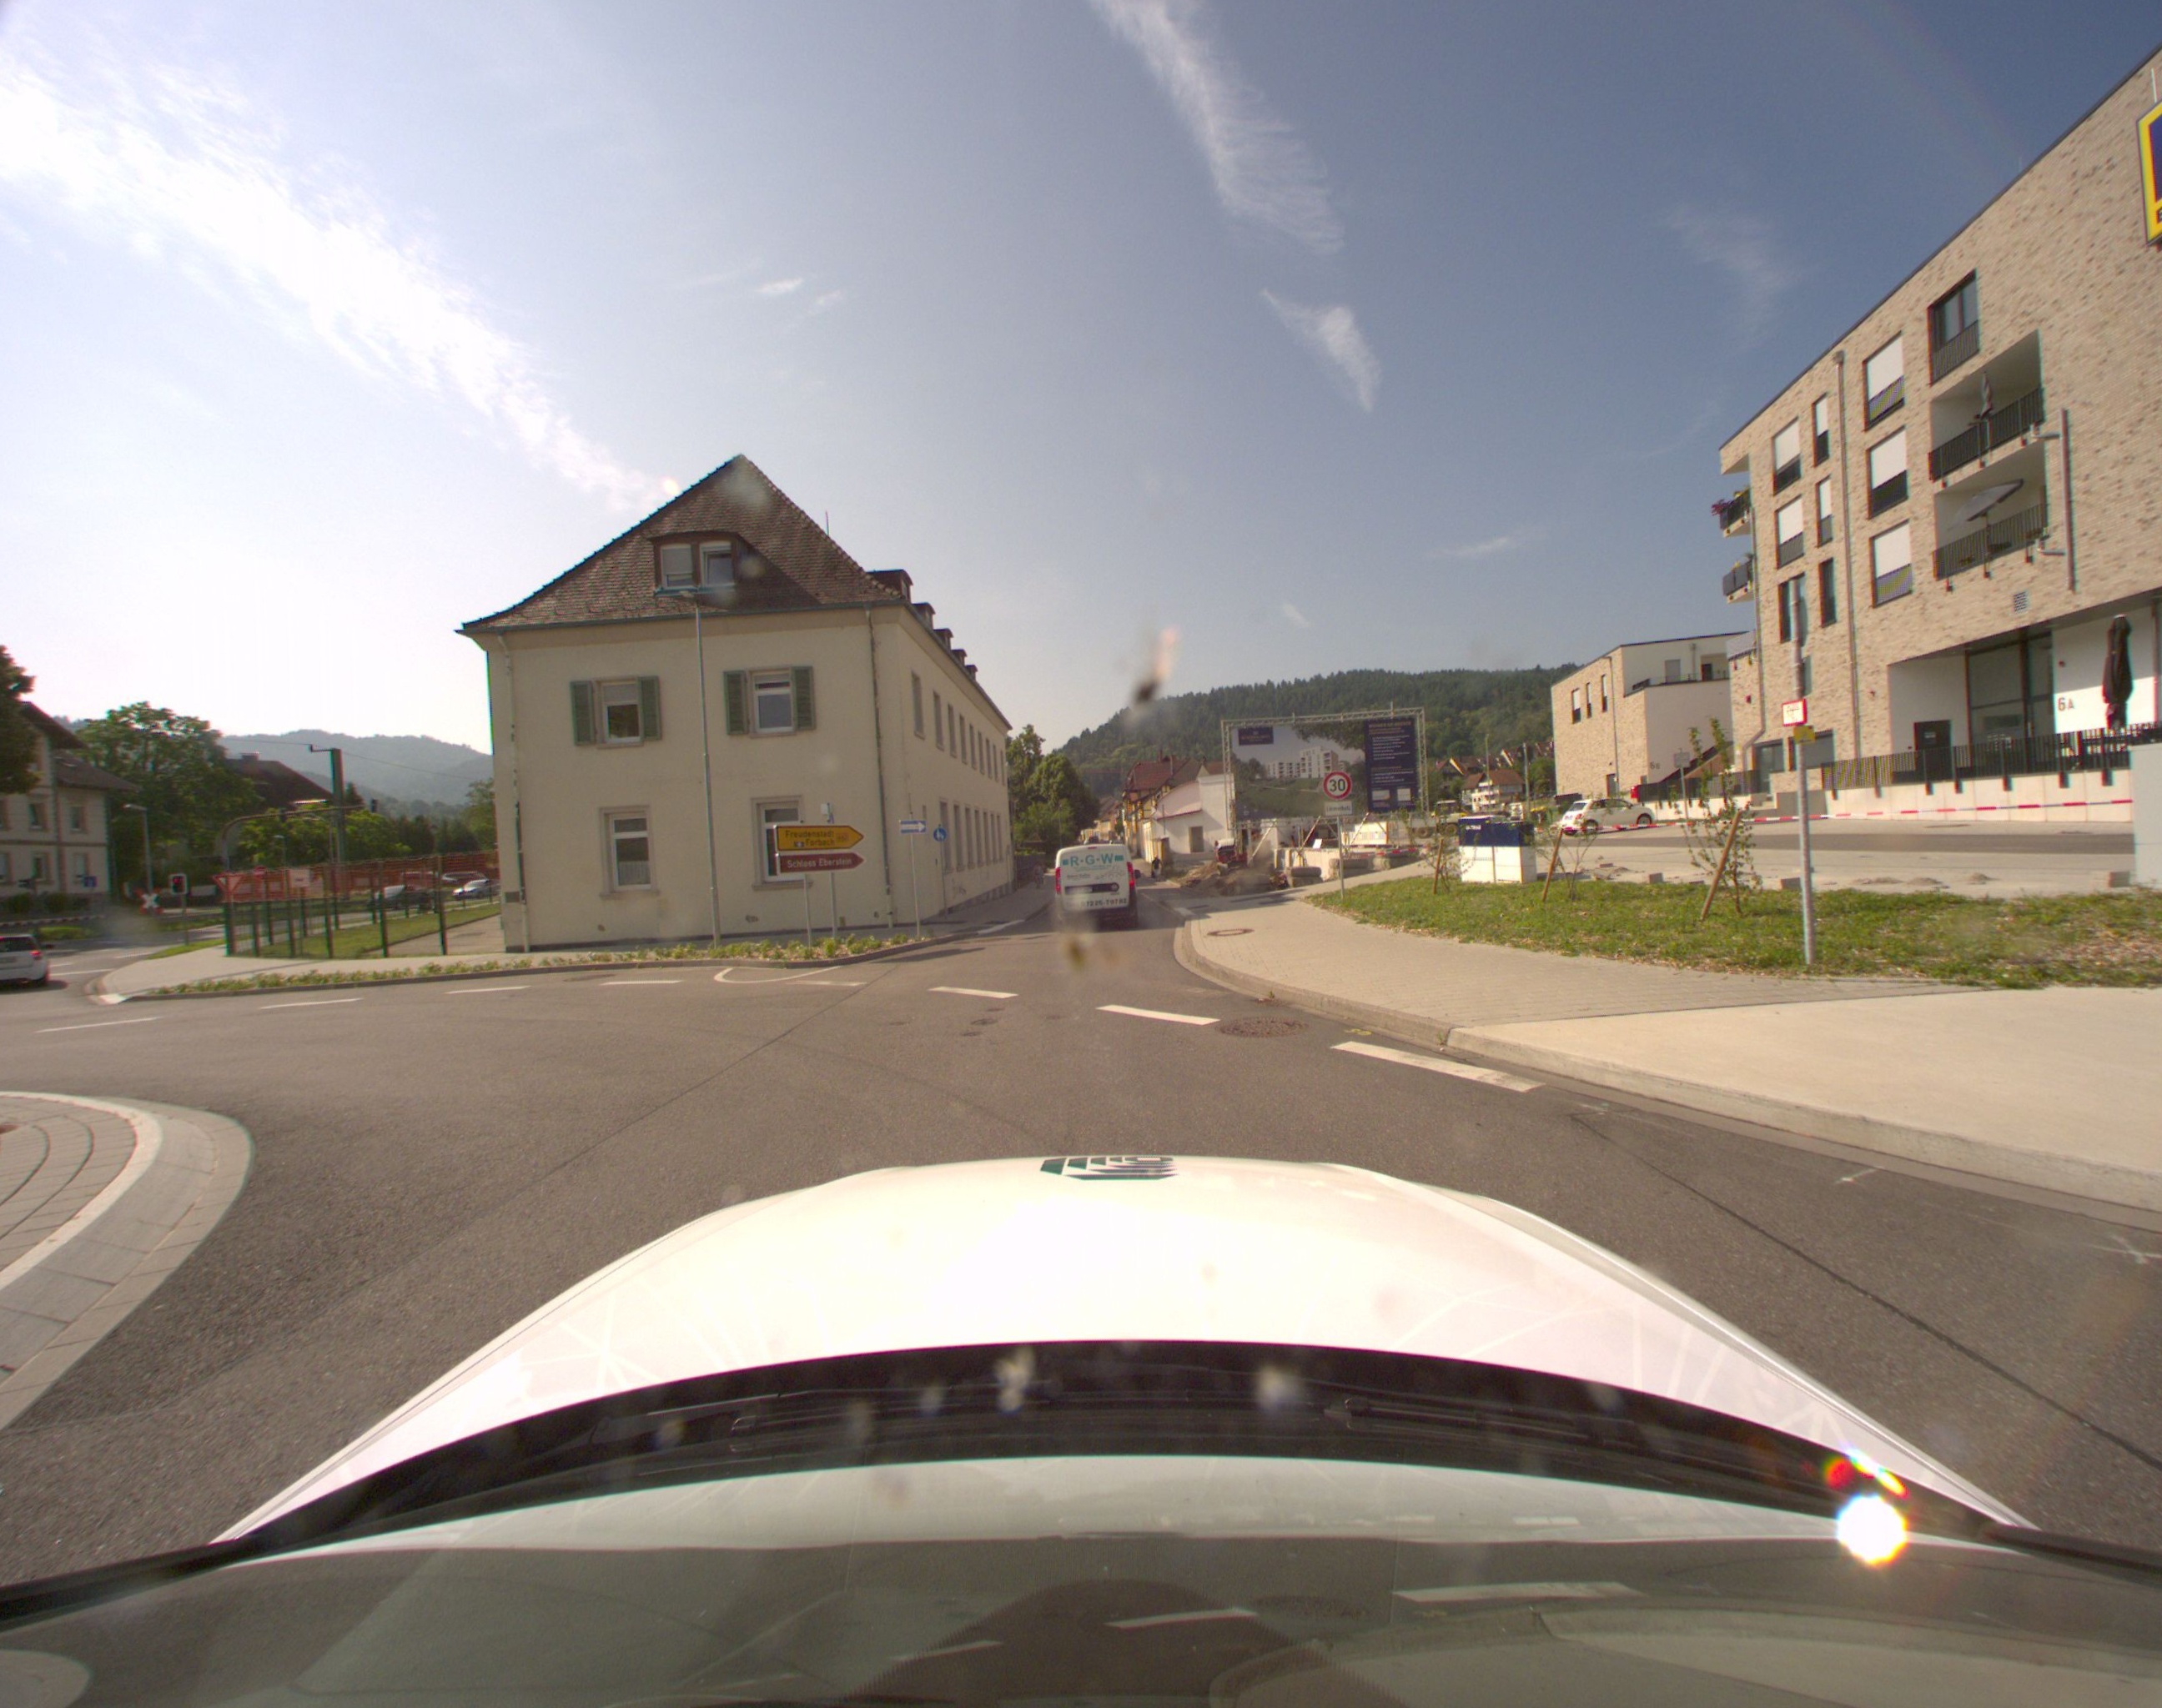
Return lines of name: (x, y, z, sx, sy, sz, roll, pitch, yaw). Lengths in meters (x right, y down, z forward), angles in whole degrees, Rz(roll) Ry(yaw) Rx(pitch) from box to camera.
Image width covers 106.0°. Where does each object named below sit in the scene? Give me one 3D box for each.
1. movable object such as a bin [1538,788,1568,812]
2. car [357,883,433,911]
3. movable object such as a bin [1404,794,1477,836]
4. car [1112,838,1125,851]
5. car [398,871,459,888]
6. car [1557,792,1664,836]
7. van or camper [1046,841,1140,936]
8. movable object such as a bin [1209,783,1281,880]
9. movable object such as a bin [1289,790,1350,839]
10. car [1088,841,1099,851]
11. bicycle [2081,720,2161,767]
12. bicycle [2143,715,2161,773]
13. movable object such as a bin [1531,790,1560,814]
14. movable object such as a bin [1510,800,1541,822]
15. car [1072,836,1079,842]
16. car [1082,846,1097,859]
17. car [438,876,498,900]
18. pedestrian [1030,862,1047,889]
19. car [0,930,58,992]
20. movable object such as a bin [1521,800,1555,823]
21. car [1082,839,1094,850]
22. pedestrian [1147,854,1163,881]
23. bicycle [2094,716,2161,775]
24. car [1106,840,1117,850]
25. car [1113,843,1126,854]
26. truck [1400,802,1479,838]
movable object such as a bin: (30.112, -3.454, 51.950, 1.291, 1.464, 1.324, -1, 2, 11)
car: (-43.753, 2.686, 52.060, 1.707, 1.397, 3.991, -2, 2, -7)
movable object such as a bin: (26.099, -2.809, 59.147, 4.569, 2.569, 1.937, -5, 0, 26)
car: (5.952, -1.493, 130.327, 1.865, 2.013, 4.001, -3, 1, 1)
car: (-59.964, 2.336, 74.900, 3.991, 1.397, 1.707, -2, 2, -13)
car: (22.389, -1.690, 34.501, 3.394, 1.495, 1.594, -5, -1, 0)
van or camper: (0.391, 0.753, 19.164, 1.820, 1.844, 4.192, -5, -1, 4)
movable object such as a bin: (7.188, -0.942, 36.554, 2.284, 3.853, 7.810, -1, 1, 5)
movable object such as a bin: (18.971, -3.101, 64.480, 2.822, 3.621, 5.773, 0, 2, 36)
car: (2.137, -1.429, 142.783, 1.804, 1.596, 3.927, -1, 2, 0)
bicycle: (27.839, -2.897, 21.470, 0.686, 1.044, 2.254, -1, 2, 15)
bicycle: (22.952, -2.251, 16.334, 2.228, 1.144, 0.767, -1, 2, 3)
movable object such as a bin: (30.335, -3.399, 53.259, 1.291, 1.464, 1.324, -1, 2, 11)
movable object such as a bin: (30.856, -3.009, 56.597, 1.570, 1.464, 1.324, -1, 2, 11)
car: (-1.491, -4.102, 223.759, 1.806, 1.596, 3.924, -1, 2, -2)
car: (1.109, -0.192, 104.662, 1.805, 1.596, 3.927, -1, 2, 0)
car: (-45.042, 2.459, 59.938, 1.707, 1.397, 3.991, -2, 2, -7)
pedestrian: (-2.592, 1.284, 49.475, 0.954, 1.631, 0.758, 0, 0, 1)
car: (-31.586, 3.124, 23.869, 3.948, 1.397, 1.726, 0, 2, 36)
movable object such as a bin: (30.657, -2.860, 54.674, 1.682, 1.464, 1.324, -1, 2, 11)
car: (1.942, -2.720, 227.231, 2.867, 2.835, 6.122, -4, 1, -1)
pedestrian: (4.656, 0.851, 51.239, 0.885, 1.683, 0.718, -2, 0, 1)
bicycle: (23.147, -2.311, 17.256, 2.228, 1.144, 0.858, -1, 2, 3)
car: (5.477, -1.651, 146.749, 1.665, 1.508, 3.999, -4, 1, -1)
car: (5.644, -0.823, 120.313, 1.804, 1.596, 3.928, -1, 2, 1)
truck: (27.404, -2.574, 62.338, 5.265, 2.265, 2.232, -5, 0, 27)
